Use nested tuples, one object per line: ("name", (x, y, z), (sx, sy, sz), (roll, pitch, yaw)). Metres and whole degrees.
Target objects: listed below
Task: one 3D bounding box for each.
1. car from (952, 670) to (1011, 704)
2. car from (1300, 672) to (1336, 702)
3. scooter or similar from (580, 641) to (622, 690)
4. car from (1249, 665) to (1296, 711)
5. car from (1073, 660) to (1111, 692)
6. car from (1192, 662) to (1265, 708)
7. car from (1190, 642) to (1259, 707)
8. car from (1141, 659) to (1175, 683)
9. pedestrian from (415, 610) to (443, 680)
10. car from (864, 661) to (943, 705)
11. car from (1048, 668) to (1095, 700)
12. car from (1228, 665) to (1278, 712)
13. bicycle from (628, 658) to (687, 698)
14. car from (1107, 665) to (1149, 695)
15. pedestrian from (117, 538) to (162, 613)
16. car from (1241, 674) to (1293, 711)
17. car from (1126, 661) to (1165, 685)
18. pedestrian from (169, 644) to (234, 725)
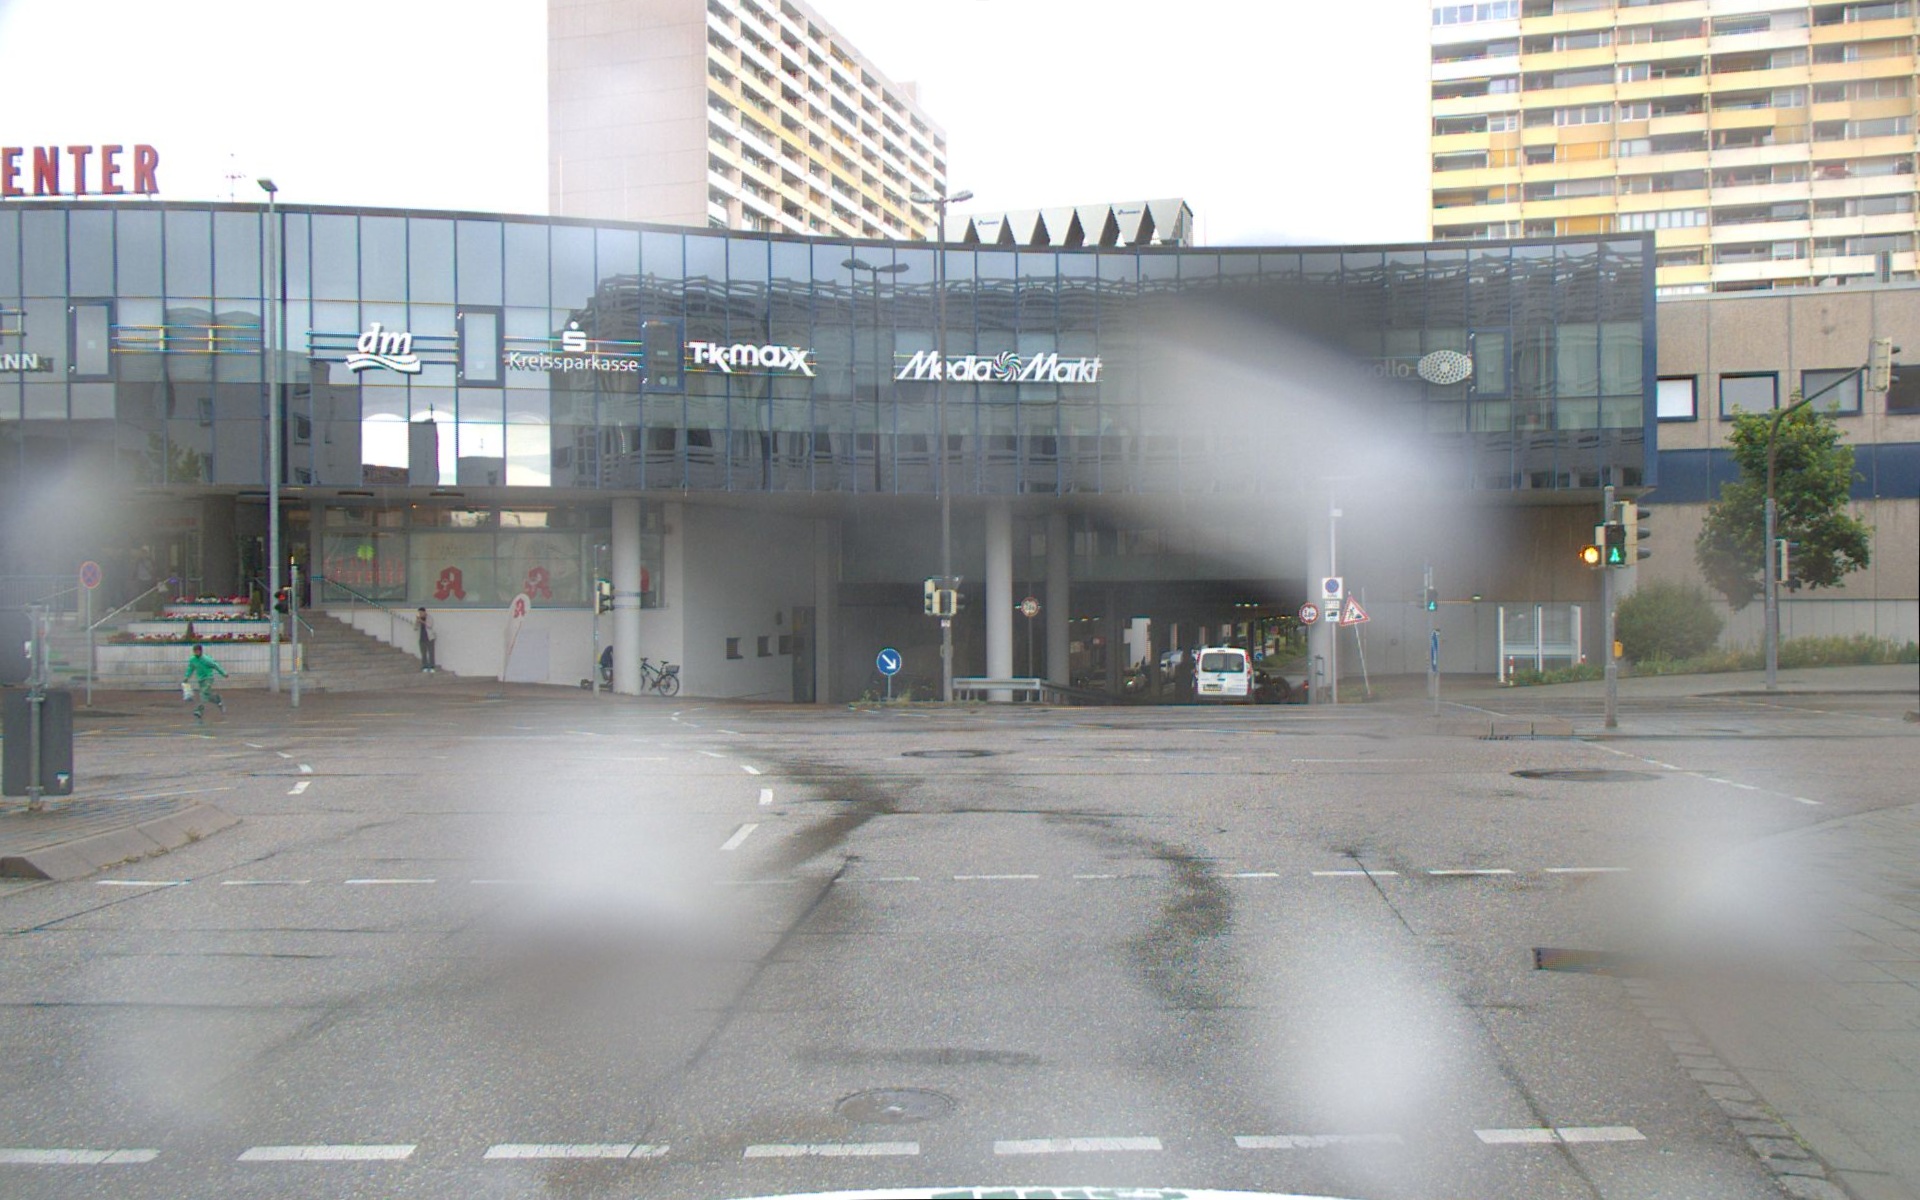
("car", (0.999, 3.919, 74.375), (1.733, 1.490, 3.878), (-1, -3, 15))
("car", (19.741, 4.773, 91.121), (1.847, 1.517, 3.844), (1, -1, 13))
("scooter or similar", (-10.427, 1.902, 48.012), (1.147, 1.397, 0.487), (1, -1, -16))
("car", (13.458, 3.748, 71.071), (1.753, 1.802, 4.003), (-1, -1, 14))
("car", (7.684, 4.408, 96.131), (1.797, 1.758, 4.003), (-1, -1, 11))
("car", (9.188, 2.932, 56.312), (1.721, 1.490, 3.943), (-2, -4, 20))
("car", (7.826, 2.178, 48.711), (1.884, 1.829, 4.299), (-1, -2, 10))
("car", (13.754, 4.911, 114.723), (1.951, 1.489, 4.003), (-1, -1, 12))
("pedestrian", (-14.942, 1.261, 46.549), (0.643, 1.942, 0.593), (1, -1, -9))
("car", (-2.088, 3.147, 62.397), (1.852, 1.496, 4.029), (-1, -5, 16))
("car", (6.189, 4.637, 91.304), (1.874, 1.616, 3.941), (-1, -1, 15))
("car", (10.854, 3.261, 61.101), (1.598, 1.640, 4.265), (-2, -3, 13))
("bicycle", (-8.883, 2.289, 48.533), (1.566, 1.036, 0.447), (7, -4, -32))
("car", (10.349, 4.912, 101.952), (1.951, 1.693, 4.003), (1, -1, 15))
("pedestrian", (-22.985, -0.676, 46.327), (0.814, 2.049, 0.950), (1, -1, -8))
("car", (12.270, 3.721, 66.006), (1.741, 1.425, 4.002), (-1, -4, 15))
("car", (12.305, 4.824, 109.620), (1.951, 1.489, 4.003), (-1, -1, 15))
("pedestrian", (-15.937, 1.761, 34.753), (0.929, 1.652, 0.809), (-1, -1, 19))
